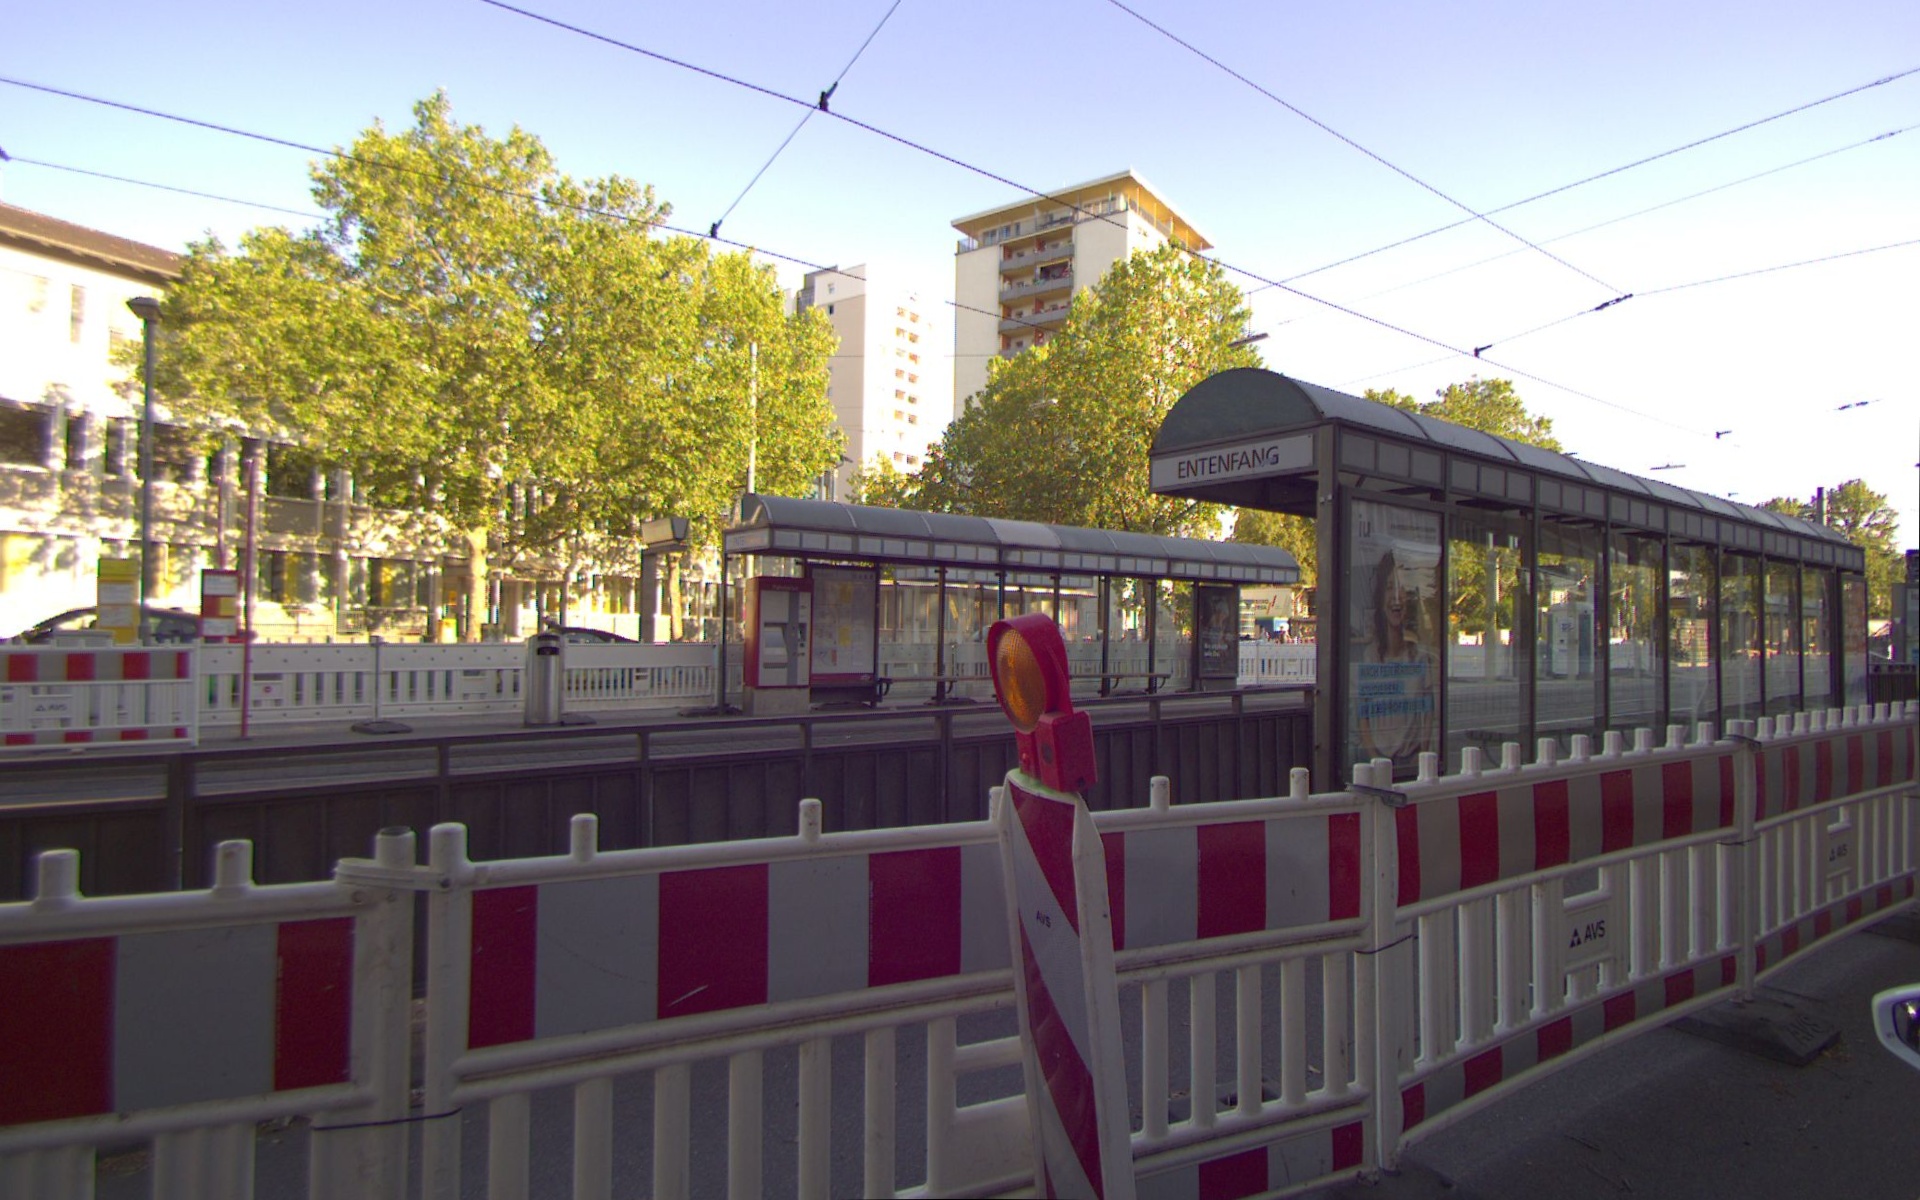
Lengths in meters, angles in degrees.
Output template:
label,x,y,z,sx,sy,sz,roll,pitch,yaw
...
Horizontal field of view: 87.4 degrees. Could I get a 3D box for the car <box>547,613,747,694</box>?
label,x,y,z,sx,sy,sz,roll,pitch,yaw
car,-7.072,1.177,22.783,3.958,1.683,1.982,2,-2,-33

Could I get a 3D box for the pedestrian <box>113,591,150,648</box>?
label,x,y,z,sx,sy,sz,roll,pitch,yaw
pedestrian,-21.995,0.519,26.667,0.577,1.474,0.584,0,-2,34

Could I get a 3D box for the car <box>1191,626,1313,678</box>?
label,x,y,z,sx,sy,sz,roll,pitch,yaw
car,10.065,1.781,34.578,3.958,1.683,1.982,2,-2,-33

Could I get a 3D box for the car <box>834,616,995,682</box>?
label,x,y,z,sx,sy,sz,roll,pitch,yaw
car,-1.209,1.310,27.324,3.959,1.683,1.901,2,-2,-34

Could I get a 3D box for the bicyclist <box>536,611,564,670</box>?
label,x,y,z,sx,sy,sz,roll,pitch,yaw
bicyclist,-11.517,1.124,28.213,0.636,1.635,0.547,1,-1,-30

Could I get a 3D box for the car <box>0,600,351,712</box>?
label,x,y,z,sx,sy,sz,roll,pitch,yaw
car,-13.165,0.928,17.286,4.511,1.683,1.982,2,-2,-33

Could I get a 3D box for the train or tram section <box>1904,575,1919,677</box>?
label,x,y,z,sx,sy,sz,roll,pitch,yaw
train or tram section,39.067,1.100,37.994,11.656,3.580,2.668,2,0,-36

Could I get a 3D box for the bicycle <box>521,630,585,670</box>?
label,x,y,z,sx,sy,sz,roll,pitch,yaw
bicycle,-11.446,1.400,28.243,1.603,1.079,0.546,2,-2,-31
